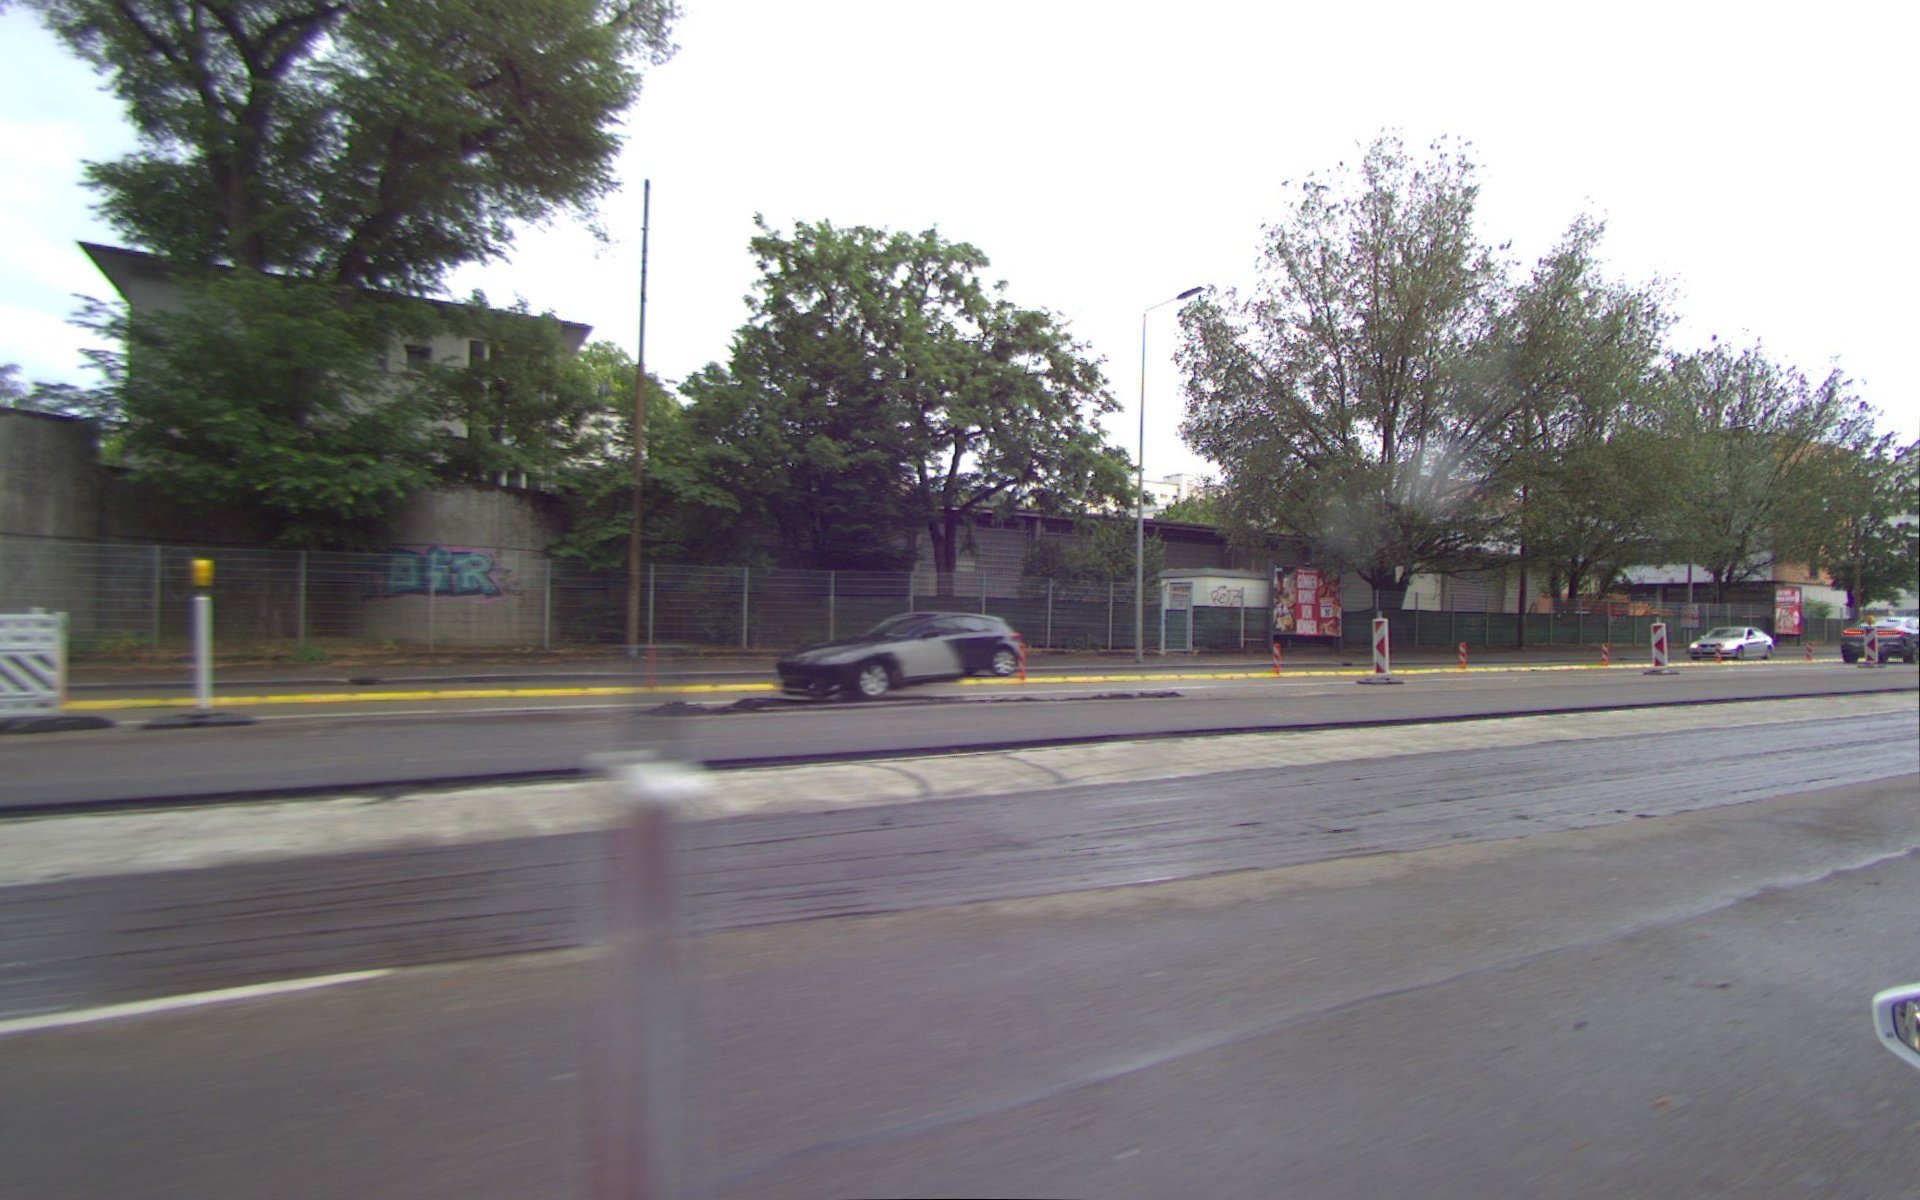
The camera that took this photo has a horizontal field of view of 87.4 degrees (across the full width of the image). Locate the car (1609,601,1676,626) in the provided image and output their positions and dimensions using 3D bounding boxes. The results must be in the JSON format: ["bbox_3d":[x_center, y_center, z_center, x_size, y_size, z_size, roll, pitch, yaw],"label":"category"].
[{"bbox_3d":[43.810,0.895,64.567,1.959,1.548,4.026,0,-1,8],"label":"car"}]

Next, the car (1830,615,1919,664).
[{"bbox_3d":[33.908,1.430,36.724,4.343,1.672,1.884,1,-1,-30],"label":"car"}]

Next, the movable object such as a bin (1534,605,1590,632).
[{"bbox_3d":[35.749,1.084,59.757,1.718,1.548,4.026,0,-1,13],"label":"movable object such as a bin"}]

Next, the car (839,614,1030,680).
[{"bbox_3d":[-0.559,1.069,23.089,4.120,1.401,1.698,1,-2,-30],"label":"car"}]

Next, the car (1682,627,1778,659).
[{"bbox_3d":[32.689,1.827,42.606,4.402,1.332,1.659,1,-3,-30],"label":"car"}]
